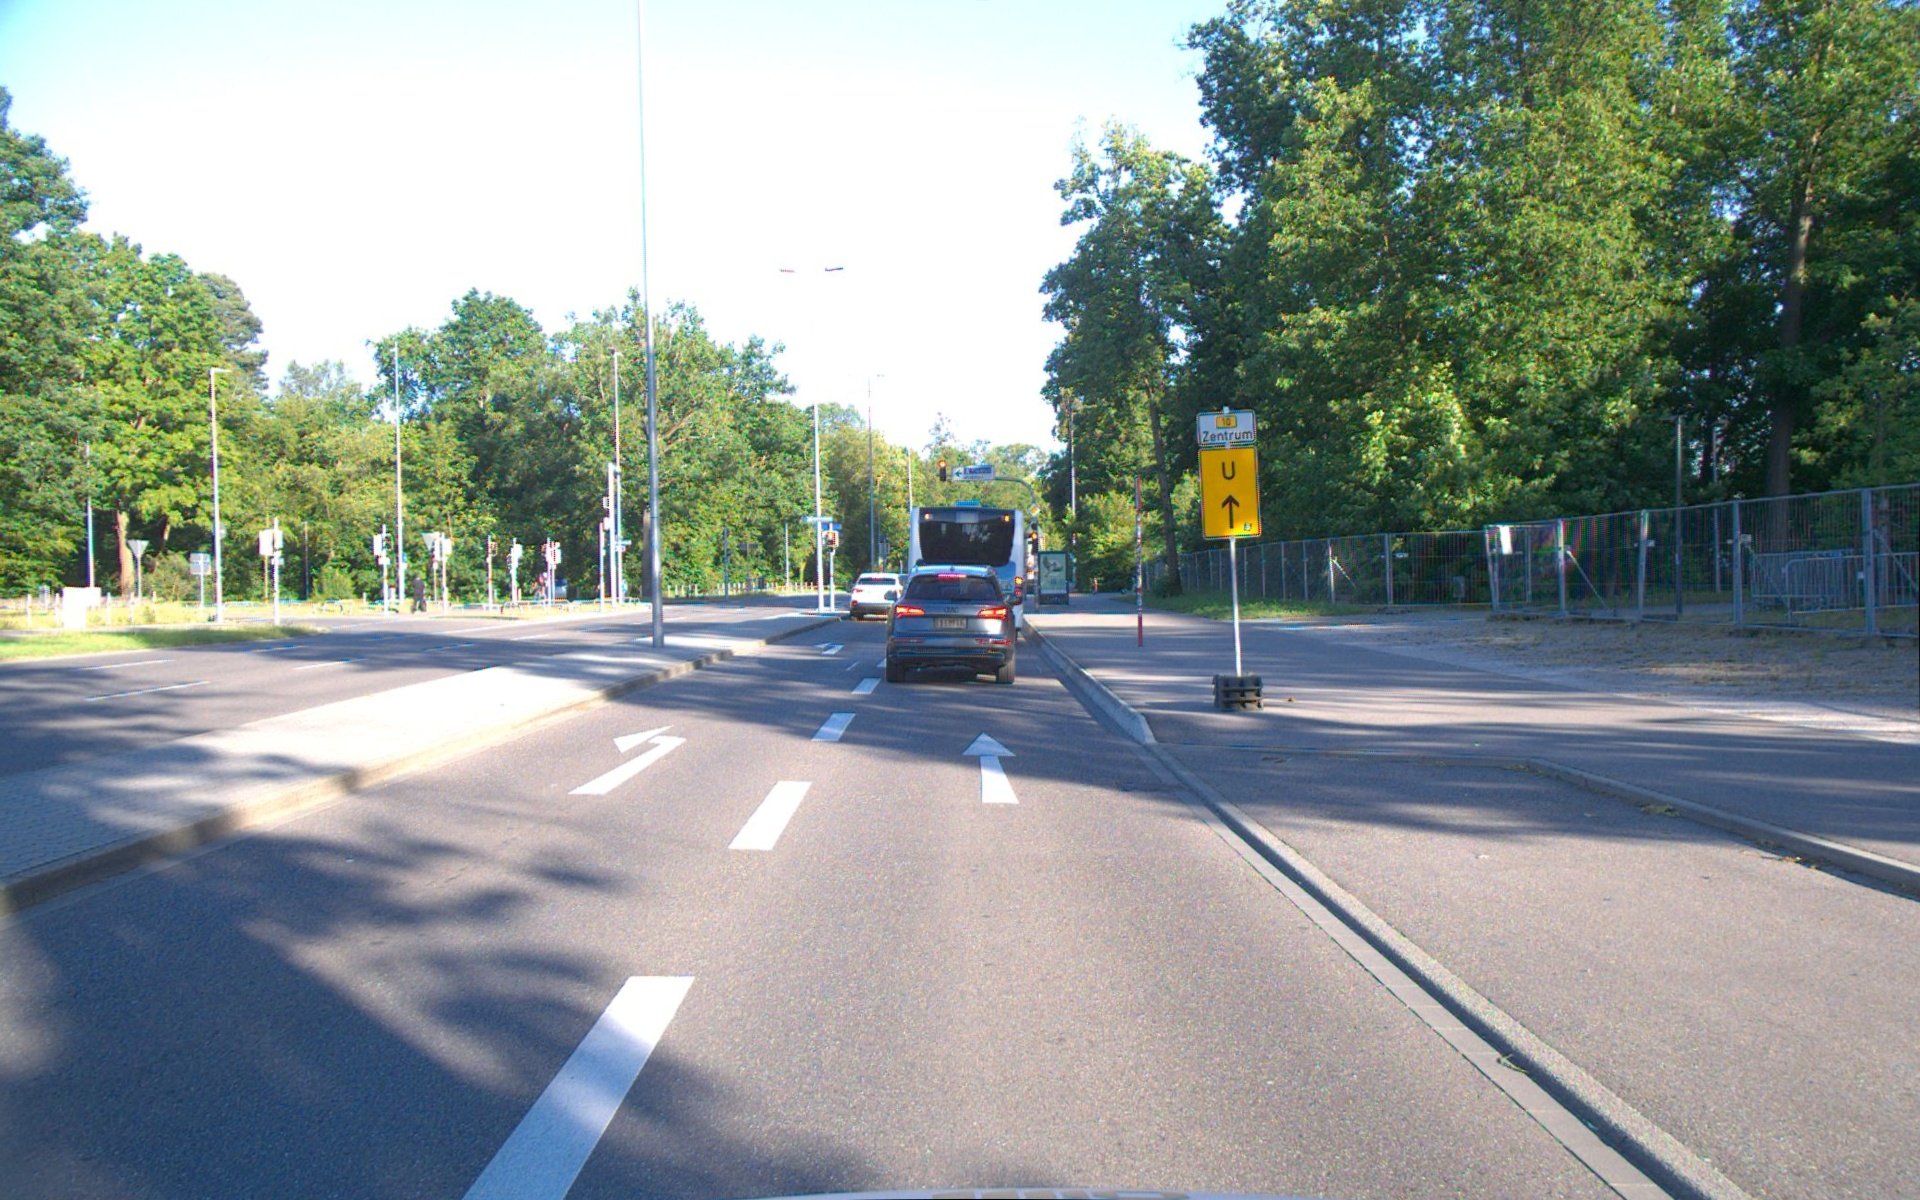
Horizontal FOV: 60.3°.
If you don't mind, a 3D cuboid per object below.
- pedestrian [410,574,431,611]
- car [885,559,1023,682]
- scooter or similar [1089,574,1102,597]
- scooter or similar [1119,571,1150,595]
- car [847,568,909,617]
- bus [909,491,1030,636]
[{"bbox_3d":[-23.237,-0.331,71.248,0.643,1.587,0.531,-2,1,-42],"label":"pedestrian"},{"bbox_3d":[-0.064,0.244,24.586,1.859,1.660,4.000,1,1,0],"label":"car"},{"bbox_3d":[8.961,-0.957,109.525,0.498,1.469,2.021,-2,1,-5],"label":"scooter or similar"},{"bbox_3d":[11.290,-1.102,107.068,1.990,1.469,0.601,-2,1,-24],"label":"scooter or similar"},{"bbox_3d":[-2.700,-0.270,55.074,1.798,1.545,4.000,-1,1,0],"label":"car"},{"bbox_3d":[0.235,-0.813,39.557,2.541,3.041,9.327,0,0,0],"label":"bus"}]
